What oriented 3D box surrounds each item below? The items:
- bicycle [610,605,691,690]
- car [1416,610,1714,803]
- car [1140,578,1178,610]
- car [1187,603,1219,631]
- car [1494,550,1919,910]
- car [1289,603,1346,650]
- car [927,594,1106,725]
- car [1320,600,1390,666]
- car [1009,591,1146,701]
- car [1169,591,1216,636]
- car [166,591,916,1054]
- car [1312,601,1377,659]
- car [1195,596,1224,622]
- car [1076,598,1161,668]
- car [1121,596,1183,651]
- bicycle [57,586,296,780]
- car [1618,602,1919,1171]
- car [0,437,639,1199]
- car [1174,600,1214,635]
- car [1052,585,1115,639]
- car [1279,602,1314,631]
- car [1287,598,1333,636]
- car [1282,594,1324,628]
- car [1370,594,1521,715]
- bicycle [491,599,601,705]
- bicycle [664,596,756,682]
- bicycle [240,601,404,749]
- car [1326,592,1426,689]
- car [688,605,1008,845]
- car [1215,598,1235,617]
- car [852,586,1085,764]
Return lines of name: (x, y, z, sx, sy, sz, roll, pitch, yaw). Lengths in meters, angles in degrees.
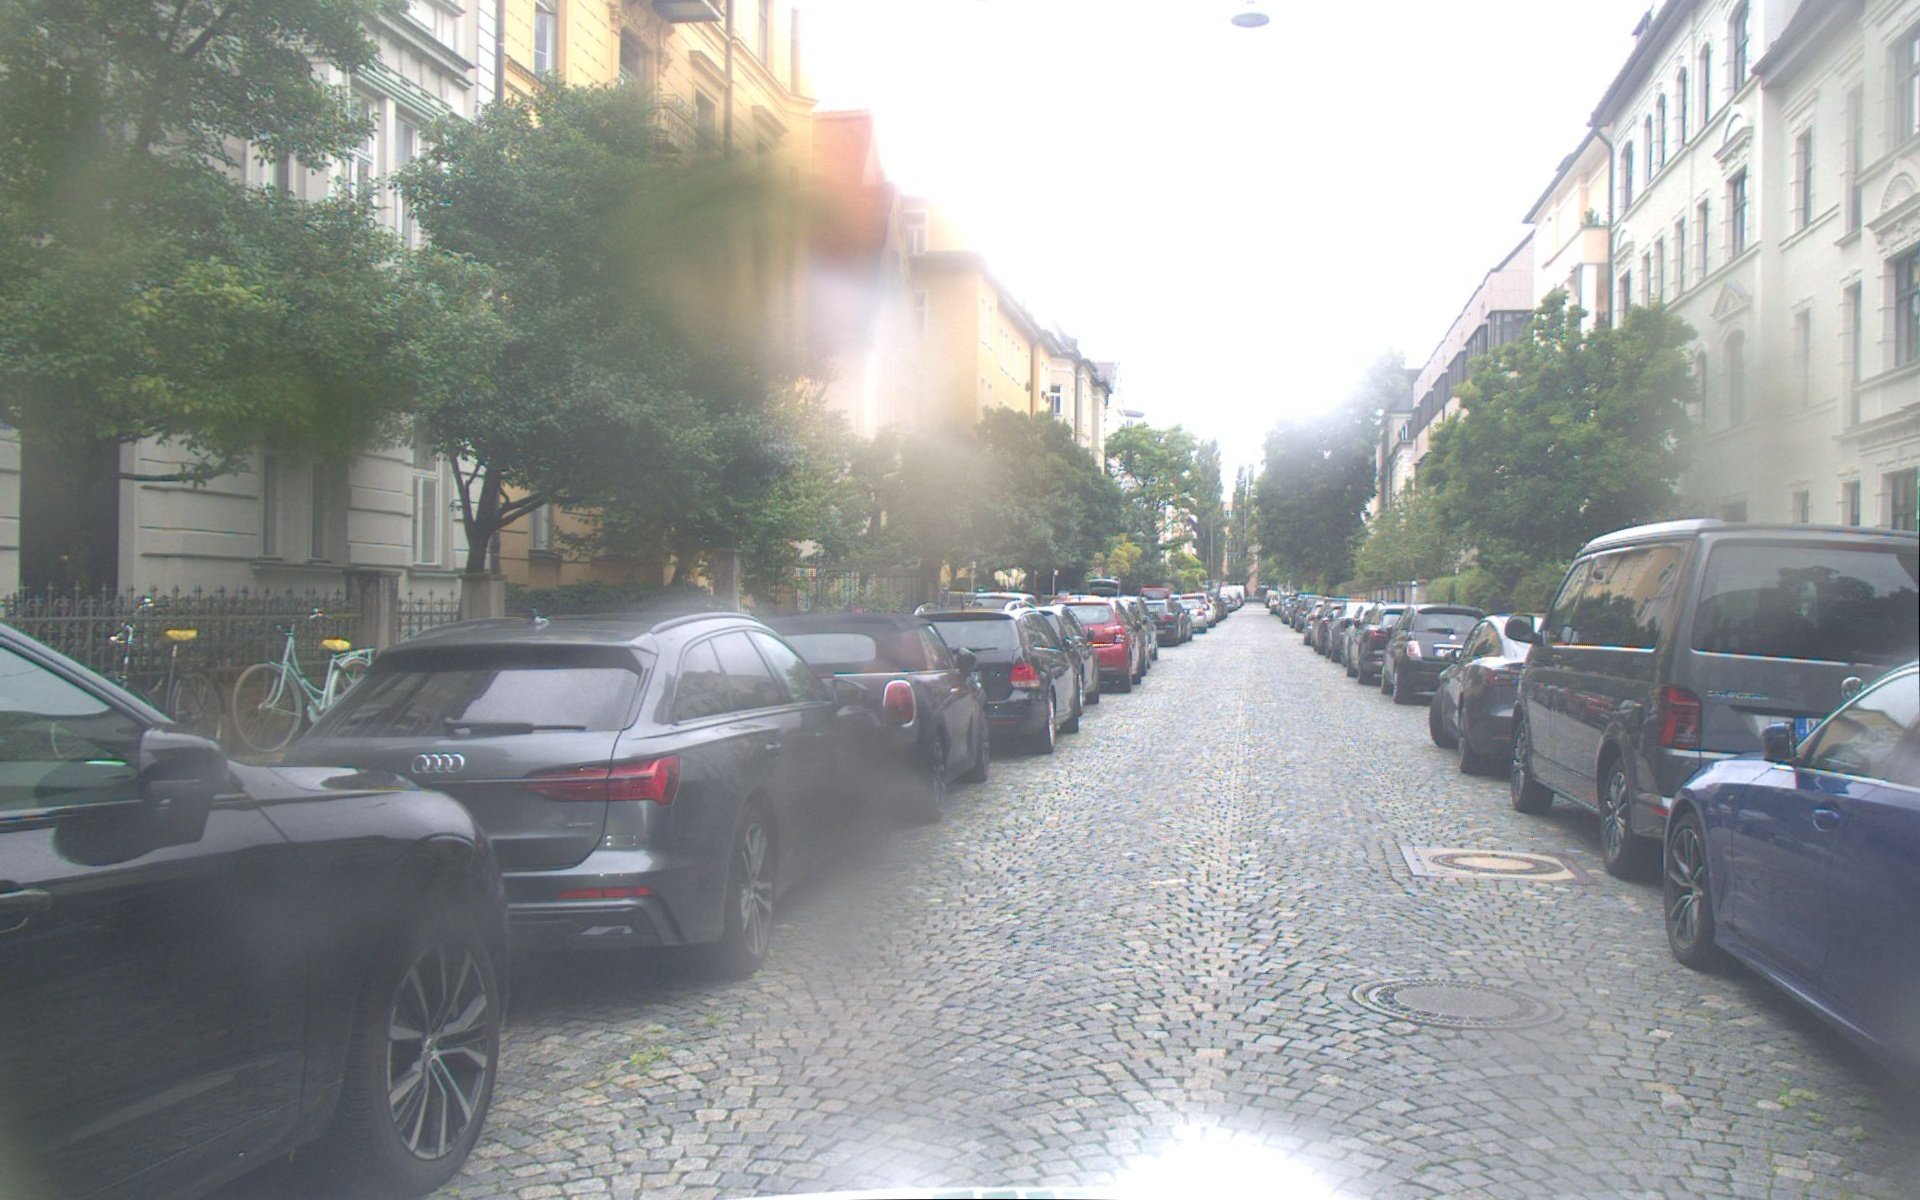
bicycle: (-4.043, 0.602, 21.697, 0.409, 1.045, 1.766, 2, 0, 10)
car: (5.607, 0.879, 15.950, 1.881, 1.459, 4.805, 3, 0, 11)
car: (11.077, -0.308, 91.920, 1.881, 1.664, 3.742, -3, -1, 9)
car: (15.503, 1.081, 105.480, 1.881, 1.664, 3.742, -3, -1, 9)
car: (4.764, 0.620, 10.403, 1.978, 1.720, 4.854, 1, 0, 10)
car: (12.131, 0.896, 56.308, 1.625, 1.491, 3.451, -3, -1, 9)
car: (0.873, 0.775, 22.801, 1.881, 1.573, 4.003, -3, -1, 10)
car: (9.883, 0.804, 41.339, 1.563, 1.529, 3.264, -3, -1, 14)
car: (2.075, 0.759, 28.170, 1.881, 1.664, 3.809, -3, -1, 10)
car: (10.290, 0.603, 73.056, 1.881, 1.871, 3.742, -3, -1, 9)
car: (-1.510, 0.753, 8.153, 1.766, 1.531, 5.182, -2, 0, 7)
car: (10.742, 0.823, 46.329, 1.625, 1.481, 3.451, -3, -1, 12)
car: (17.610, 0.640, 116.721, 1.881, 1.664, 3.742, -3, -1, 9)
car: (3.778, 0.754, 39.045, 1.625, 1.561, 3.487, 0, -1, 12)
car: (6.122, 0.745, 52.662, 1.881, 1.664, 3.742, 1, 0, 7)
bicycle: (-5.610, 0.553, 11.988, 0.490, 1.270, 1.981, 2, 0, 9)
car: (3.707, 0.821, 5.325, 1.888, 1.533, 4.879, 2, 0, 9)
car: (-2.415, 0.626, 2.939, 1.896, 1.681, 5.058, -3, -1, 10)
car: (12.166, 0.918, 85.908, 1.881, 1.664, 3.742, -3, -1, 9)
car: (4.043, 0.400, 53.547, 1.740, 1.664, 3.742, 1, 0, 8)
car: (20.776, 1.030, 102.271, 1.881, 1.664, 3.742, -3, -1, 9)
car: (16.513, 0.828, 78.123, 1.881, 1.664, 3.742, -3, -1, 9)
car: (17.814, 0.584, 85.972, 1.881, 1.664, 3.742, -3, -1, 9)
car: (7.610, 0.813, 26.262, 1.881, 1.664, 4.049, 3, 0, 11)
bicycle: (-4.643, 0.558, 18.670, 0.363, 1.121, 1.835, 1, 0, 14)
bicycle: (-3.528, 0.547, 23.474, 0.410, 1.163, 1.764, 2, 0, 22)
bicycle: (-5.364, 0.596, 14.026, 0.355, 1.152, 1.889, 2, 0, 9)
car: (7.586, 0.712, 30.416, 1.625, 1.664, 3.542, 0, -1, 12)
car: (-0.698, 0.838, 12.749, 1.667, 1.543, 3.730, -1, 0, 8)
car: (25.825, 0.739, 161.185, 1.881, 1.664, 3.742, -3, -1, 9)
car: (0.228, 0.715, 17.354, 1.690, 1.567, 4.340, -3, -1, 10)
